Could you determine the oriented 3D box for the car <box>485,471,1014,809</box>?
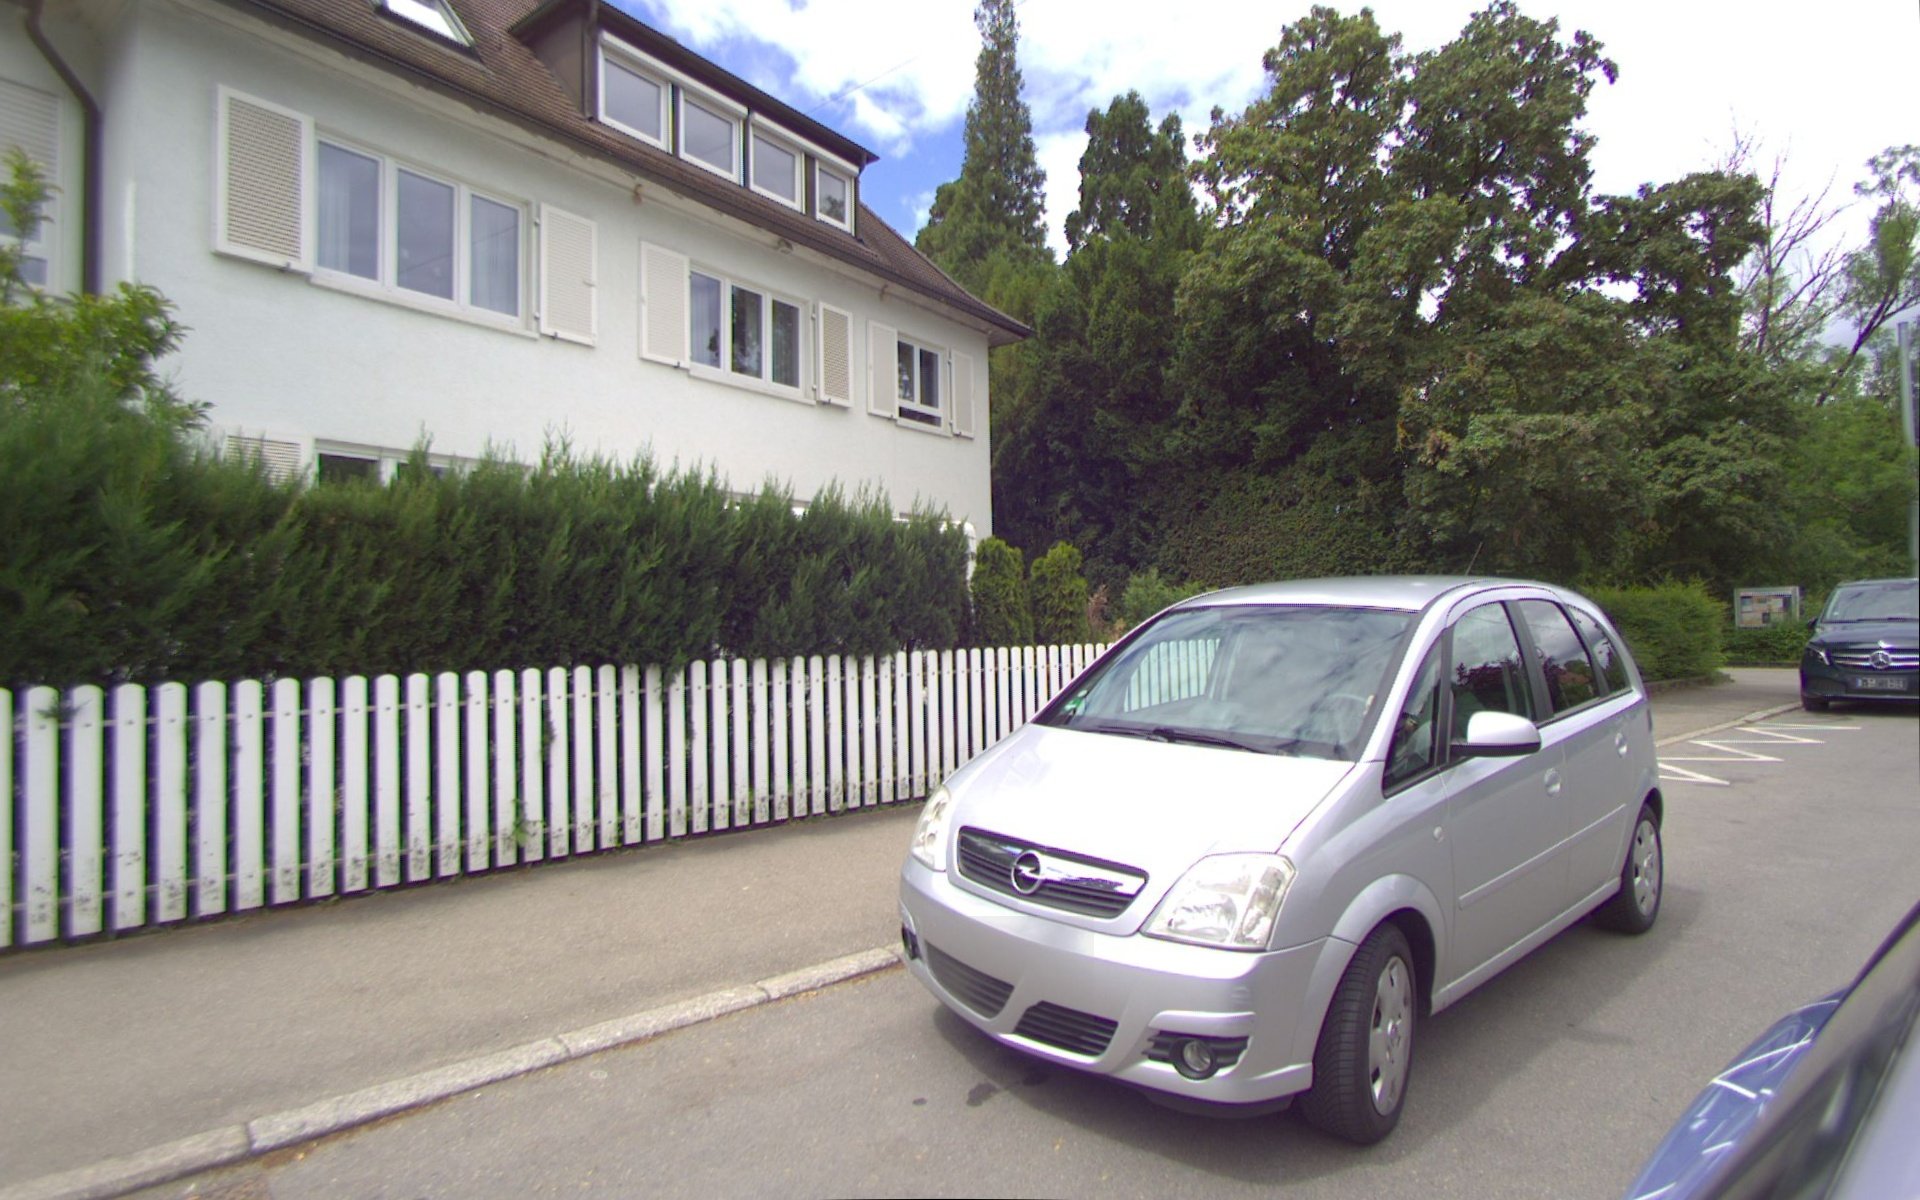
[{"bbox_3d":[-1.984,0.392,10.908,2.493,2.717,5.112,-5,-3,39],"label":"car"}]

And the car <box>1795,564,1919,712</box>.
[{"bbox_3d":[13.917,0.469,14.549,5.064,1.872,1.913,-1,-2,-39],"label":"car"}]

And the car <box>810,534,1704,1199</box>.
[{"bbox_3d":[1.522,0.644,4.178,3.950,1.602,1.761,0,0,-42],"label":"car"}]
